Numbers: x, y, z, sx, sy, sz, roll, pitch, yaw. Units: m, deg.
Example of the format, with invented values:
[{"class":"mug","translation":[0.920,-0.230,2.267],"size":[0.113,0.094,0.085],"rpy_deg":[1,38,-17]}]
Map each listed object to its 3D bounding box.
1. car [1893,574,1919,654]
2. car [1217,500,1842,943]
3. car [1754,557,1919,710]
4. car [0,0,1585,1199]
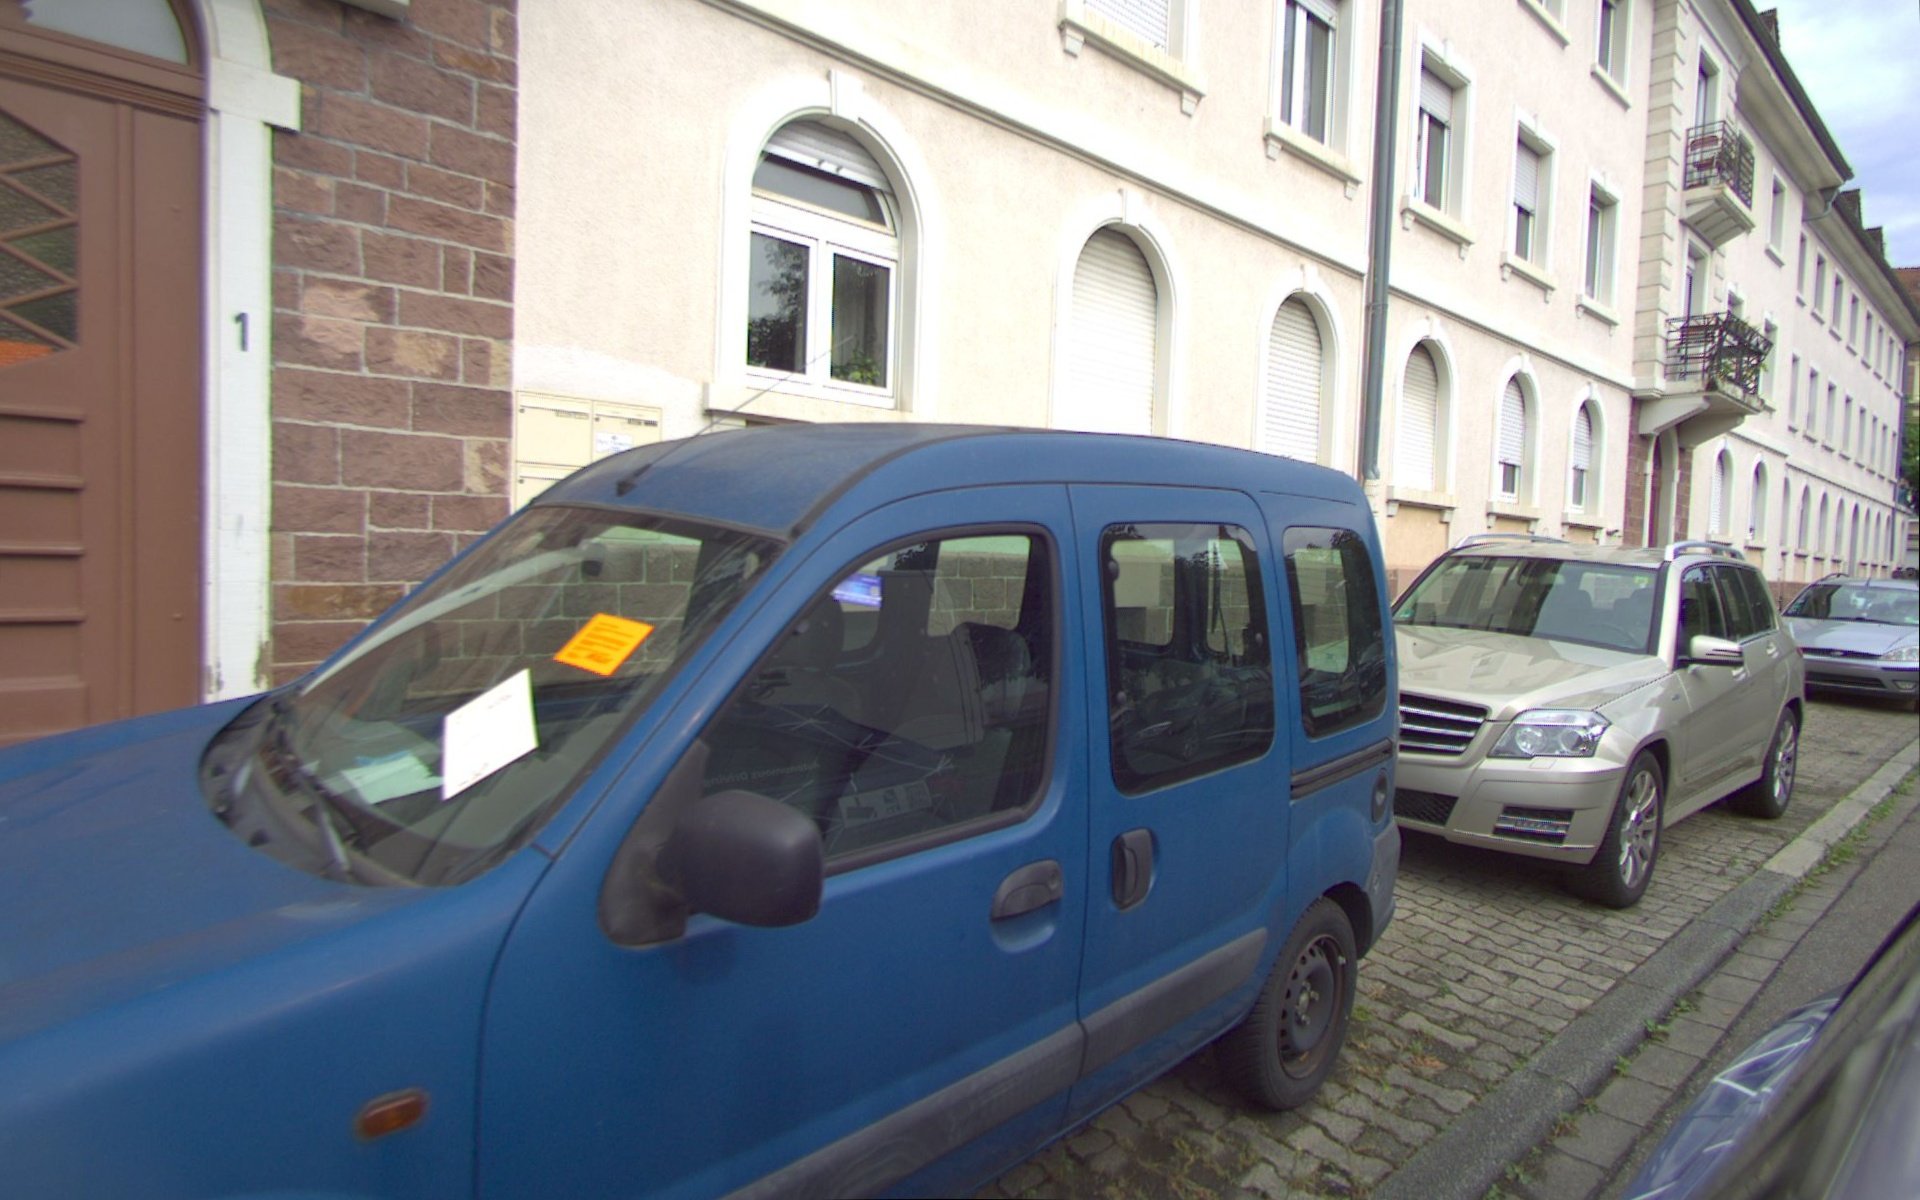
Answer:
[{"class":"car","translation":[19.282,0.299,19.335],"size":[3.940,1.416,1.610],"rpy_deg":[-1,6,-41]},{"class":"car","translation":[3.488,0.391,5.870],"size":[4.056,1.656,1.775],"rpy_deg":[-1,6,-41]},{"class":"car","translation":[11.440,0.332,12.554],"size":[3.885,1.532,1.686],"rpy_deg":[-1,6,-41]},{"class":"car","translation":[-0.350,0.345,2.454],"size":[4.113,1.806,1.943],"rpy_deg":[-1,5,-41]}]
